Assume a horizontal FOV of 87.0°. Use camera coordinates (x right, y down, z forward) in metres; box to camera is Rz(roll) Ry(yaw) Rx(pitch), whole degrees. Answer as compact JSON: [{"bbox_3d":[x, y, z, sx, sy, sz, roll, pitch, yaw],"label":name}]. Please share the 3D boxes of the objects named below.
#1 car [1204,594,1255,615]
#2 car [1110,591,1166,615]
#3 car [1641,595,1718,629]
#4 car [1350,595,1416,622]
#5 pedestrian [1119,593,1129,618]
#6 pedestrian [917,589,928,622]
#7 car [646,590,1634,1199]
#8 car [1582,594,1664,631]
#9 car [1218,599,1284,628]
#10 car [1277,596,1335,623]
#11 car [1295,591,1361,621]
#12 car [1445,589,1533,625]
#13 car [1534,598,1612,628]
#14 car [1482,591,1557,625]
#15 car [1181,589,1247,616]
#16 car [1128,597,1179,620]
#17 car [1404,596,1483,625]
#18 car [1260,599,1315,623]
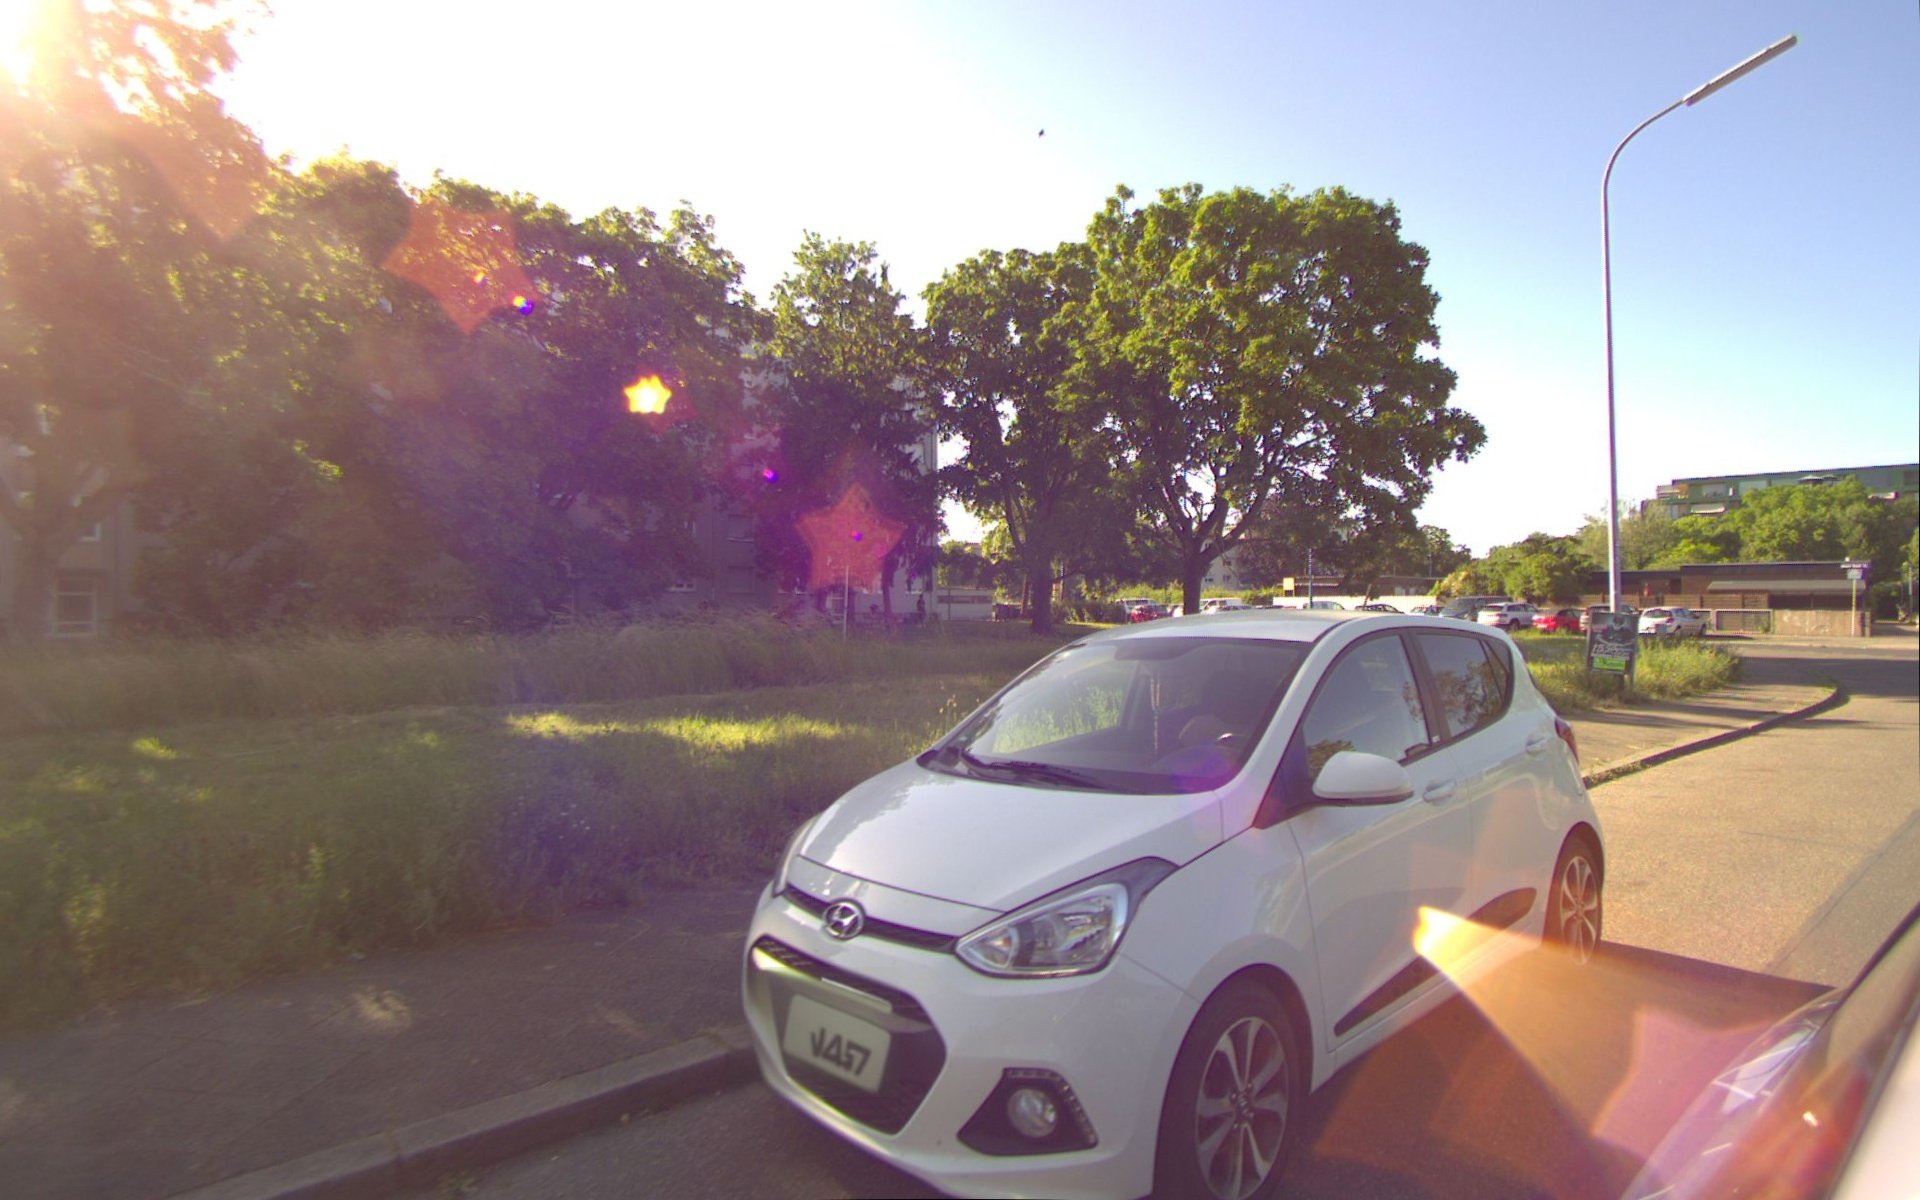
[{"bbox_3d":[20.590,0.337,77.374,3.453,1.464,1.639,-2,1,-25],"label":"car"},{"bbox_3d":[15.928,0.261,90.671,4.399,2.001,2.004,-2,1,-17],"label":"car"},{"bbox_3d":[34.015,0.557,47.809,3.625,1.477,1.636,-1,1,-30],"label":"car"},{"bbox_3d":[26.683,0.517,63.813,3.748,1.551,1.792,-1,1,-26],"label":"car"},{"bbox_3d":[10.719,0.364,66.141,0.473,1.584,0.598,2,0,-10],"label":"pedestrian"},{"bbox_3d":[-1.980,0.270,53.178,0.481,1.683,0.537,-2,1,-10],"label":"pedestrian"},{"bbox_3d":[0.947,0.750,3.789,3.676,1.498,1.724,-1,-1,-42],"label":"car"},{"bbox_3d":[32.784,0.577,50.051,3.921,1.632,1.820,-3,1,-30],"label":"car"},{"bbox_3d":[16.897,0.747,59.004,1.700,1.562,3.796,-1,1,-22],"label":"car"},{"bbox_3d":[24.035,0.660,70.294,3.453,1.506,1.732,-4,4,-22],"label":"car"},{"bbox_3d":[24.734,0.406,68.051,3.908,1.803,1.929,-2,0,-24],"label":"car"},{"bbox_3d":[29.557,0.361,56.538,4.788,1.939,2.003,-1,1,-27],"label":"car"},{"bbox_3d":[31.807,0.661,52.525,3.549,1.361,1.736,-2,1,-23],"label":"car"},{"bbox_3d":[30.020,0.417,54.302,3.549,1.627,1.736,-2,1,-23],"label":"car"},{"bbox_3d":[20.027,0.190,79.882,4.705,1.944,2.086,-2,1,-22],"label":"car"},{"bbox_3d":[13.075,0.561,68.695,1.547,1.464,3.796,-1,1,-22],"label":"car"},{"bbox_3d":[28.461,0.598,59.600,4.064,1.511,1.929,-2,1,-22],"label":"car"},{"bbox_3d":[23.348,0.784,72.162,3.451,1.507,1.640,-2,1,-18],"label":"car"}]
